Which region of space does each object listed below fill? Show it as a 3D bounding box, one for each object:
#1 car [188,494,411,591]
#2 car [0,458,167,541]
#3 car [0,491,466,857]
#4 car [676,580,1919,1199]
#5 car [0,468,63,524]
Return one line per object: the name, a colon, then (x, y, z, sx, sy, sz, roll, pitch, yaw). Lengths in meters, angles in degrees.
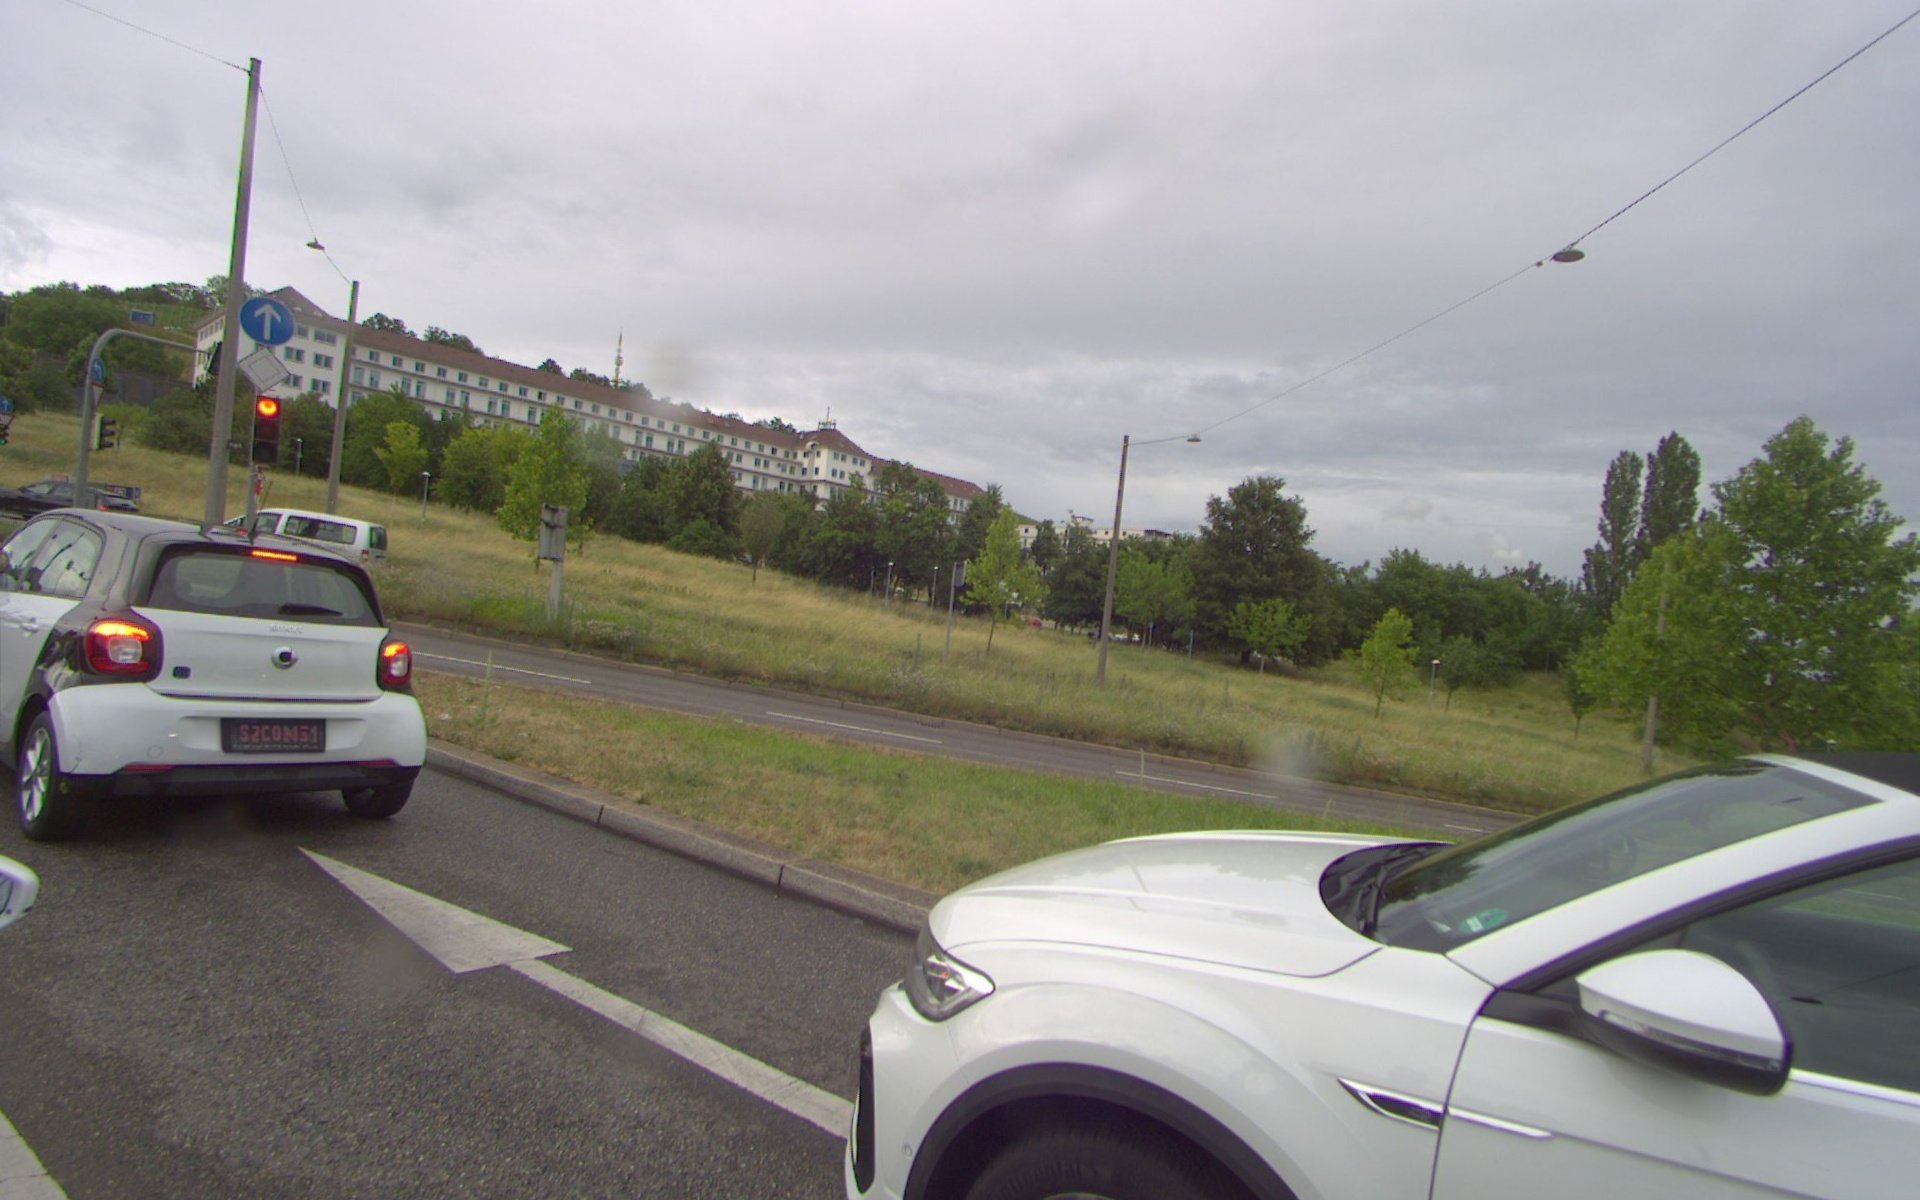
car: (-18.064, -1.518, 27.757, 4.625, 1.871, 1.818, 8, -2, -14)
car: (-29.762, -3.363, 34.067, 3.931, 2.037, 1.999, 7, -2, -7)
car: (-4.667, 0.275, 5.885, 3.397, 1.520, 1.659, 6, -2, 36)
car: (1.701, 1.010, 1.781, 4.156, 1.571, 1.718, 6, -2, 28)
car: (-33.501, -3.798, 33.736, 4.766, 1.637, 1.999, 9, 0, -4)
